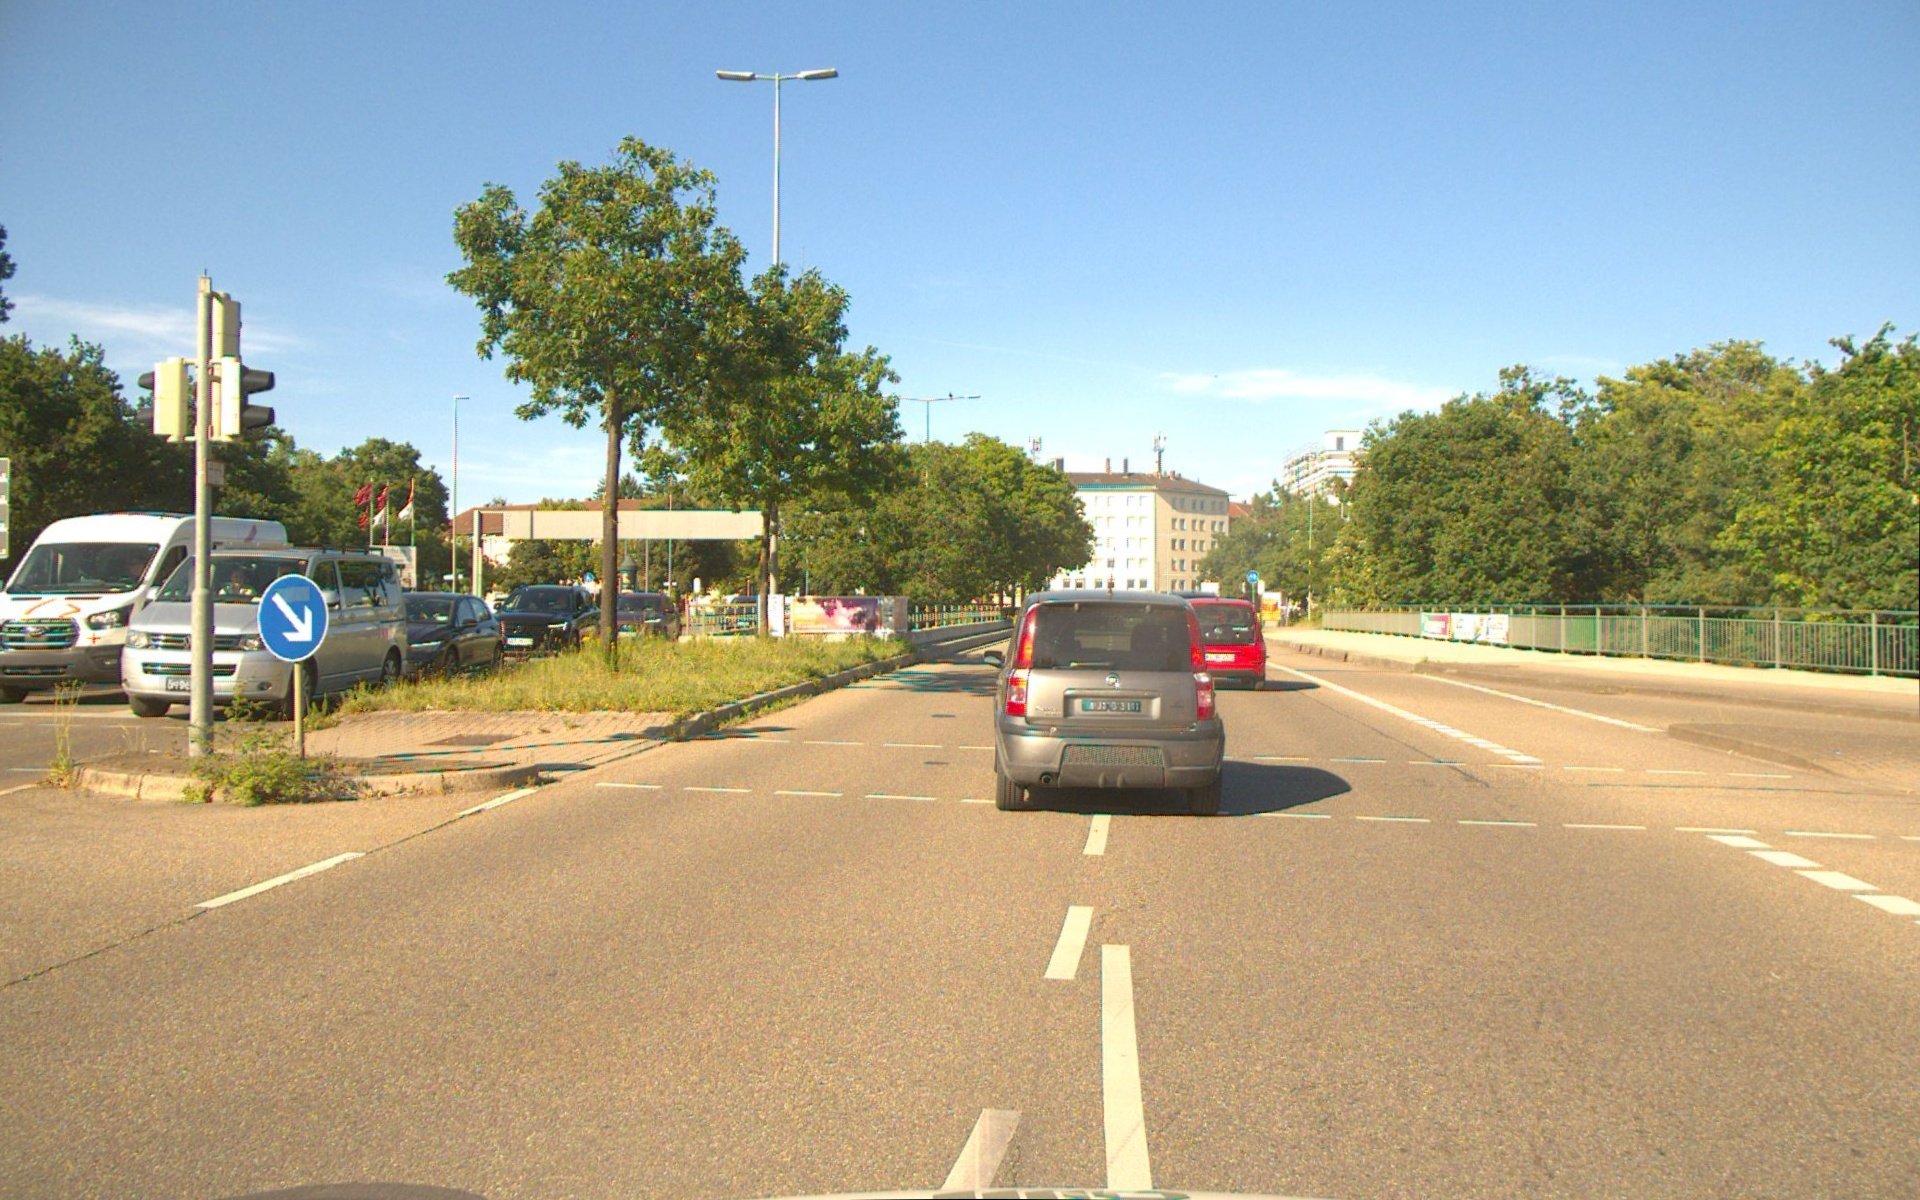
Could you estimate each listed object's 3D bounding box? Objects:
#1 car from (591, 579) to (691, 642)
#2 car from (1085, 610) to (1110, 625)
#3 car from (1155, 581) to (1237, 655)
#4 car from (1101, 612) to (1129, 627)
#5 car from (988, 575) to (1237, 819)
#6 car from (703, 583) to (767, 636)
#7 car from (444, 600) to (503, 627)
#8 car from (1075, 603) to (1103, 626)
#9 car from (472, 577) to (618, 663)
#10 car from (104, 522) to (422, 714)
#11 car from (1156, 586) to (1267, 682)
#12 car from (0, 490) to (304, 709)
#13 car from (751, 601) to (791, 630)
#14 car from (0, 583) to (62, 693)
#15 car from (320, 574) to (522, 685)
[{"bbox_3d":[-8.781,0.274,45.910,1.897,1.651,4.505,0,0,0],"label":"car"},{"bbox_3d":[13.992,1.770,168.316,1.904,1.555,4.100,0,0,15],"label":"car"},{"bbox_3d":[6.377,0.507,45.001,1.904,1.872,4.155,2,-1,5],"label":"car"},{"bbox_3d":[16.532,2.052,176.386,1.905,1.555,4.098,0,0,20],"label":"car"},{"bbox_3d":[1.110,0.628,12.770,1.583,1.542,3.821,2,0,3],"label":"car"},{"bbox_3d":[-9.069,0.379,66.923,1.952,2.049,4.334,0,0,0],"label":"car"},{"bbox_3d":[-37.402,0.998,127.142,4.176,2.049,1.987,0,0,-22],"label":"car"},{"bbox_3d":[9.227,1.016,118.208,1.904,1.555,4.100,1,0,6],"label":"car"},{"bbox_3d":[-8.533,0.386,34.404,1.897,1.651,4.505,0,0,0],"label":"car"},{"bbox_3d":[-8.286,0.195,20.239,1.897,2.043,4.930,0,0,-2],"label":"car"},{"bbox_3d":[4.268,0.545,28.527,1.583,1.488,3.753,2,0,5],"label":"car"},{"bbox_3d":[-11.196,-0.008,22.926,1.897,2.621,6.086,0,0,-2],"label":"car"},{"bbox_3d":[-10.194,0.831,89.408,1.708,1.526,3.999,0,0,0],"label":"car"},{"bbox_3d":[-14.374,0.545,22.896,1.898,1.534,3.996,-1,0,-4],"label":"car"},{"bbox_3d":[-8.634,0.442,26.910,1.897,1.651,4.504,0,0,-2],"label":"car"}]
